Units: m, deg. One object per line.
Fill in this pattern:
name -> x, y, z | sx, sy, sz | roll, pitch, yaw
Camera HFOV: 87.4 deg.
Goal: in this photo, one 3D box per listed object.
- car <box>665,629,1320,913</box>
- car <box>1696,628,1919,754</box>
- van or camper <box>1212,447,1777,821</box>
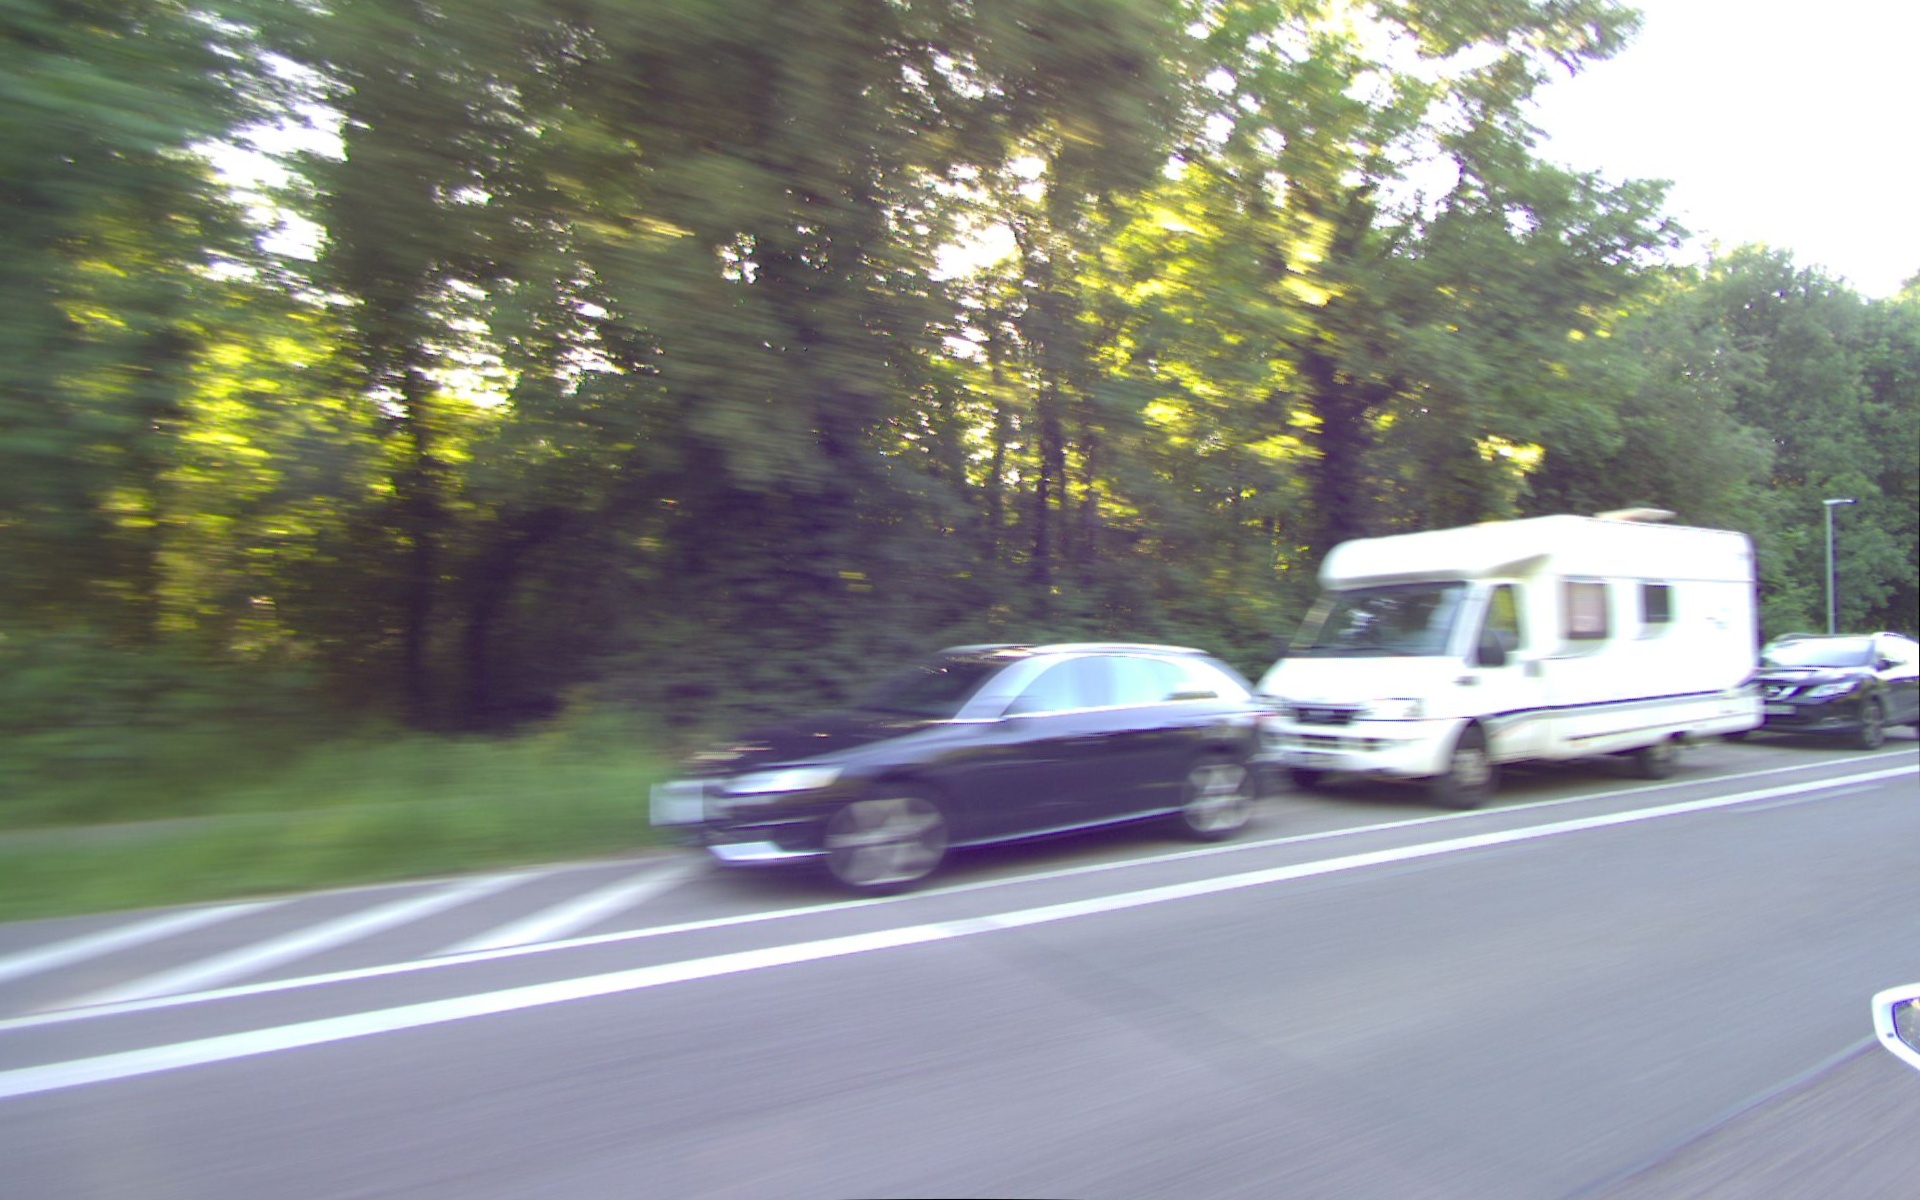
car -> 0.411, 0.982, 7.370 | 4.632, 1.495, 1.816 | 2, -2, -34
car -> 12.990, 1.276, 15.021 | 4.223, 1.653, 1.638 | 1, -3, -30
van or camper -> 6.096, 0.399, 10.989 | 7.034, 3.008, 2.302 | 2, -3, -33
